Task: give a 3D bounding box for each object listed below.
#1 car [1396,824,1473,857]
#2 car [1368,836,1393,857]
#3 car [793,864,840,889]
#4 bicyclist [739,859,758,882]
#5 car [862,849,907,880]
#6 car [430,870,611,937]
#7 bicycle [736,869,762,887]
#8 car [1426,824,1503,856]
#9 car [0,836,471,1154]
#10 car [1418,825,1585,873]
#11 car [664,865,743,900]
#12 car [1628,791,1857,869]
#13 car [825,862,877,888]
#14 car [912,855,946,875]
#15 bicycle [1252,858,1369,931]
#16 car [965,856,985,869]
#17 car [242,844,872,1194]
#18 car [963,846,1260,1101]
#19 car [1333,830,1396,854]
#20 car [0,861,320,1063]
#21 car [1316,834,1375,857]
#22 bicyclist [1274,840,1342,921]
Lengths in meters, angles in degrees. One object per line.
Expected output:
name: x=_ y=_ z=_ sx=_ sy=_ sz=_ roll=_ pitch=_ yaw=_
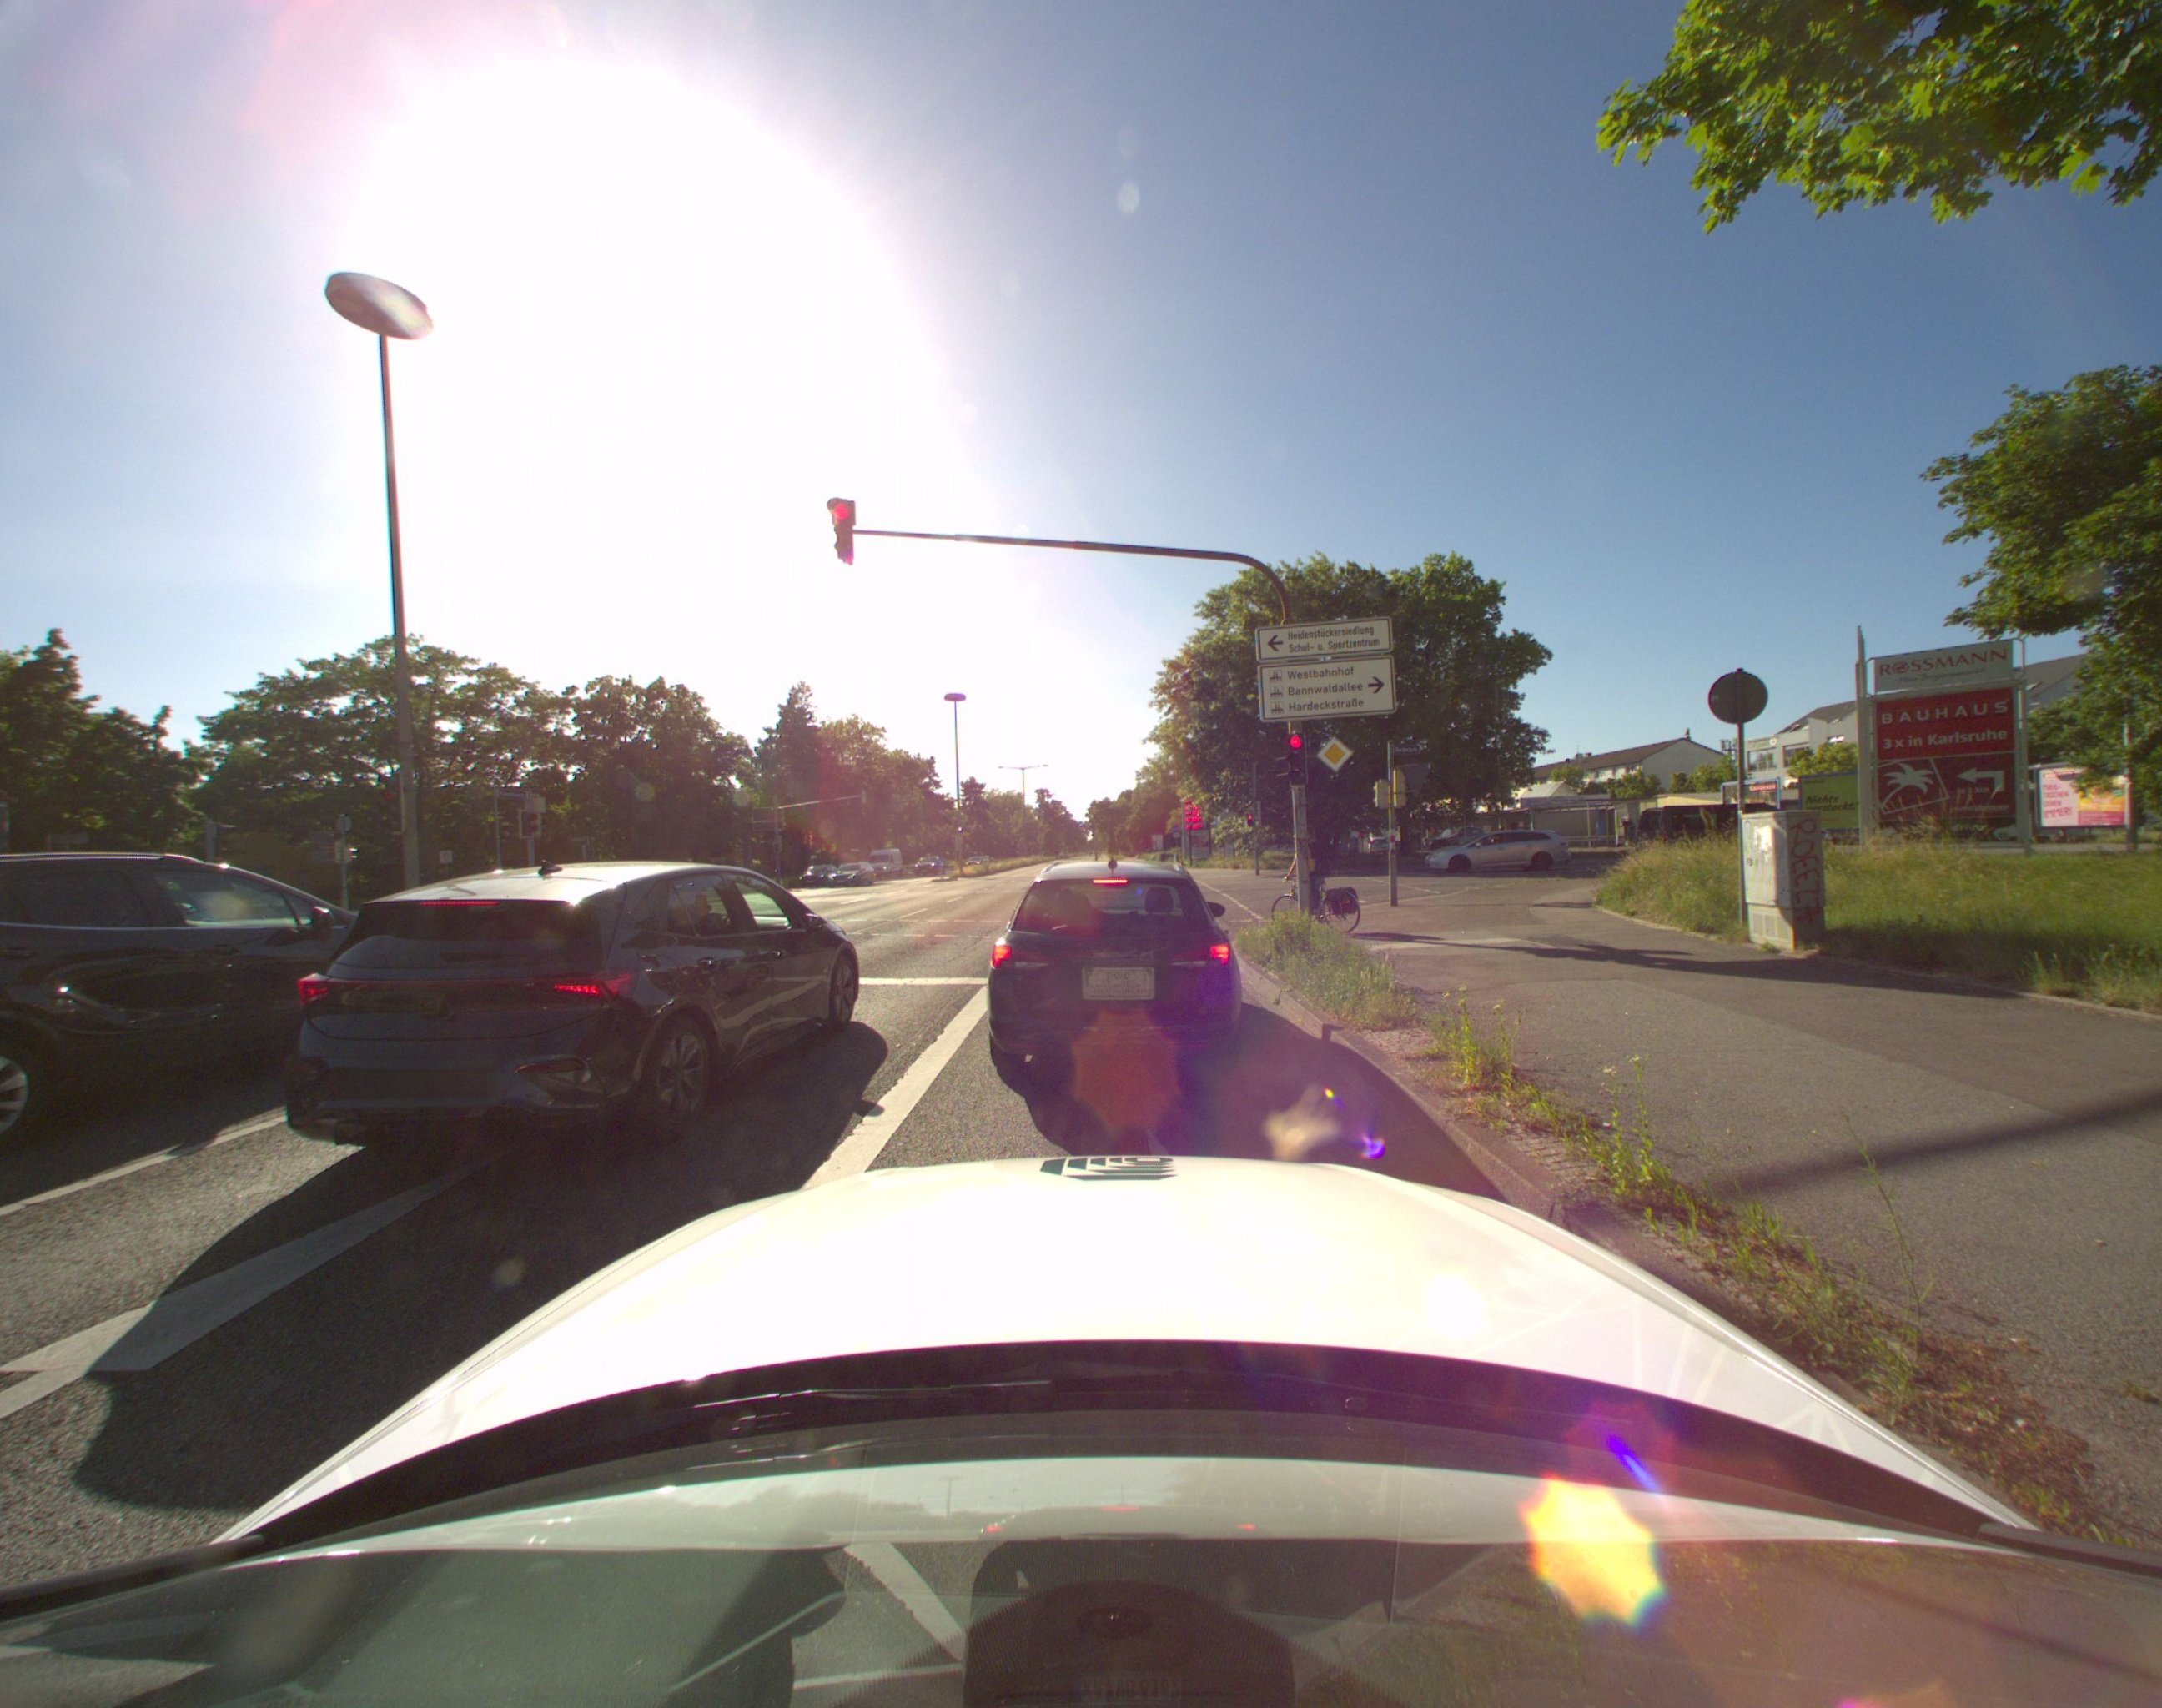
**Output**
car: x=21.449 y=-0.834 z=49.391 sx=4.003 sy=1.750 sz=1.985 roll=-3 pitch=0 yaw=-22
car: x=25.820 y=-0.658 z=70.230 sx=1.726 sy=1.680 sz=4.018 roll=-3 pitch=0 yaw=17
car: x=-17.907 y=1.496 z=55.295 sx=1.680 sy=1.509 sz=4.005 roll=-3 pitch=0 yaw=2
bicyclist: x=-24.277 y=1.213 z=59.474 sx=0.873 sy=1.648 sz=1.199 roll=-3 pitch=0 yaw=-2
car: x=-16.856 y=0.839 z=70.267 sx=2.092 sy=2.492 sz=6.006 roll=-3 pitch=0 yaw=2
car: x=-15.819 y=1.324 z=23.336 sx=1.881 sy=1.524 sz=4.506 roll=-3 pitch=0 yaw=2
bicycle: x=-24.247 y=1.750 z=59.528 sx=0.873 sy=1.212 sz=2.534 roll=-3 pitch=0 yaw=-2
car: x=22.376 y=-0.817 z=47.522 sx=4.002 sy=1.680 sz=1.733 roll=-3 pitch=0 yaw=-21
car: x=-6.623 y=0.785 z=5.516 sx=1.798 sy=1.689 sz=4.002 roll=-3 pitch=0 yaw=2
car: x=14.962 y=-0.169 z=29.290 sx=4.969 sy=1.486 sz=2.007 roll=-2 pitch=0 yaw=13
car: x=-17.930 y=1.328 z=38.903 sx=1.635 sy=1.456 sz=4.223 roll=-3 pitch=0 yaw=2
car: x=19.701 y=-0.673 z=24.523 sx=4.964 sy=1.992 sz=1.924 roll=-3 pitch=0 yaw=13
car: x=-14.238 y=1.278 z=50.652 sx=1.680 sy=1.433 sz=4.617 roll=-3 pitch=0 yaw=2
car: x=-13.610 y=0.979 z=73.372 sx=1.986 sy=1.601 sz=4.617 roll=-3 pitch=0 yaw=2
bicycle: x=3.729 y=0.685 z=13.369 sx=0.541 sy=1.097 sz=1.755 roll=-3 pitch=-2 yaw=-42
car: x=-12.984 y=1.011 z=100.049 sx=1.769 sy=1.463 sz=4.166 roll=-3 pitch=0 yaw=2
car: x=-2.962 y=0.770 z=5.853 sx=1.678 sy=1.580 sz=4.208 roll=-1 pitch=0 yaw=2
car: x=0.246 y=0.723 z=6.962 sx=1.750 sy=1.495 sz=4.208 roll=-1 pitch=0 yaw=2
car: x=19.662 y=-0.825 z=56.430 sx=3.903 sy=1.517 sz=1.733 roll=-3 pitch=0 yaw=-21
car: x=-10.226 y=0.985 z=7.919 sx=1.824 sy=1.702 sz=3.999 roll=-3 pitch=0 yaw=0
car: x=19.327 y=-0.619 z=59.522 sx=3.903 sy=1.517 sz=1.733 roll=-3 pitch=0 yaw=-21
bicyclist: x=3.716 y=0.439 z=13.373 sx=0.541 sy=1.277 sz=0.819 roll=-3 pitch=-2 yaw=-42
